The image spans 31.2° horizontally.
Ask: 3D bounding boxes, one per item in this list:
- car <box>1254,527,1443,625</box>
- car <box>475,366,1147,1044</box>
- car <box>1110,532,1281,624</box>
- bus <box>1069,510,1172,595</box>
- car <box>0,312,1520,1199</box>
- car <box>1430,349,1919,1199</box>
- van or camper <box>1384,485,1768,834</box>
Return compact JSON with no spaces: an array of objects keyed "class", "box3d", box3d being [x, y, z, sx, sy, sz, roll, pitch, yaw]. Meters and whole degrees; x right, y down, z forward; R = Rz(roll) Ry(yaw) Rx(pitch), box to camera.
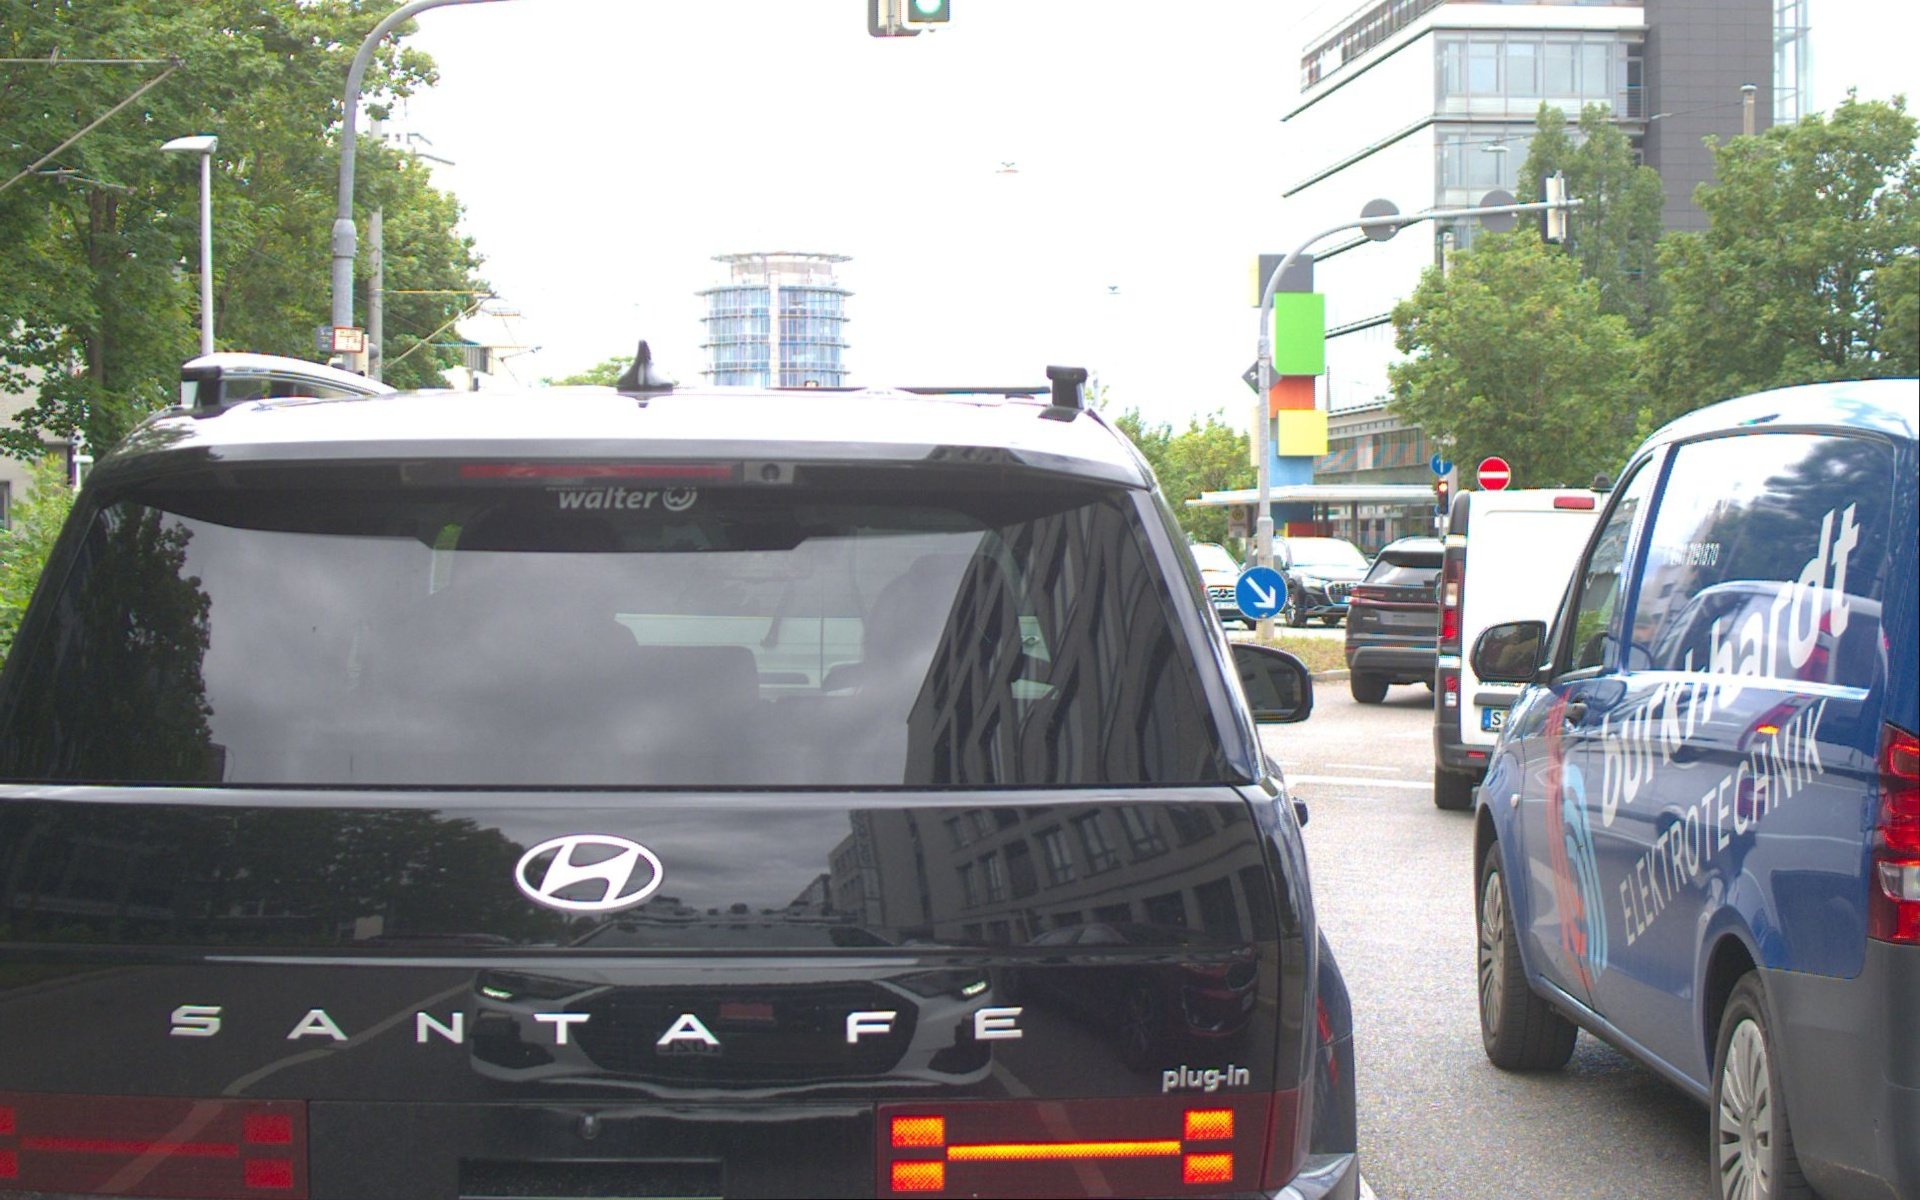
[{"class":"car","box3d":[6.753,-0.443,60.250,1.887,1.559,4.397,1,2,-13]},{"class":"car","box3d":[-0.325,0.266,12.553,1.902,1.962,4.635,2,1,4]},{"class":"car","box3d":[3.980,-0.402,58.804,1.782,1.421,4.397,1,2,-11]},{"class":"bus","box3d":[6.159,-1.810,133.506,2.966,3.106,9.245,-1,0,-4]},{"class":"car","box3d":[-0.424,0.541,5.761,1.902,1.725,4.446,2,1,-1]},{"class":"car","box3d":[2.417,0.495,7.993,1.902,1.852,4.710,2,1,-1]},{"class":"van or camper","box3d":[3.712,0.261,21.438,1.994,1.911,4.408,1,2,6]}]
